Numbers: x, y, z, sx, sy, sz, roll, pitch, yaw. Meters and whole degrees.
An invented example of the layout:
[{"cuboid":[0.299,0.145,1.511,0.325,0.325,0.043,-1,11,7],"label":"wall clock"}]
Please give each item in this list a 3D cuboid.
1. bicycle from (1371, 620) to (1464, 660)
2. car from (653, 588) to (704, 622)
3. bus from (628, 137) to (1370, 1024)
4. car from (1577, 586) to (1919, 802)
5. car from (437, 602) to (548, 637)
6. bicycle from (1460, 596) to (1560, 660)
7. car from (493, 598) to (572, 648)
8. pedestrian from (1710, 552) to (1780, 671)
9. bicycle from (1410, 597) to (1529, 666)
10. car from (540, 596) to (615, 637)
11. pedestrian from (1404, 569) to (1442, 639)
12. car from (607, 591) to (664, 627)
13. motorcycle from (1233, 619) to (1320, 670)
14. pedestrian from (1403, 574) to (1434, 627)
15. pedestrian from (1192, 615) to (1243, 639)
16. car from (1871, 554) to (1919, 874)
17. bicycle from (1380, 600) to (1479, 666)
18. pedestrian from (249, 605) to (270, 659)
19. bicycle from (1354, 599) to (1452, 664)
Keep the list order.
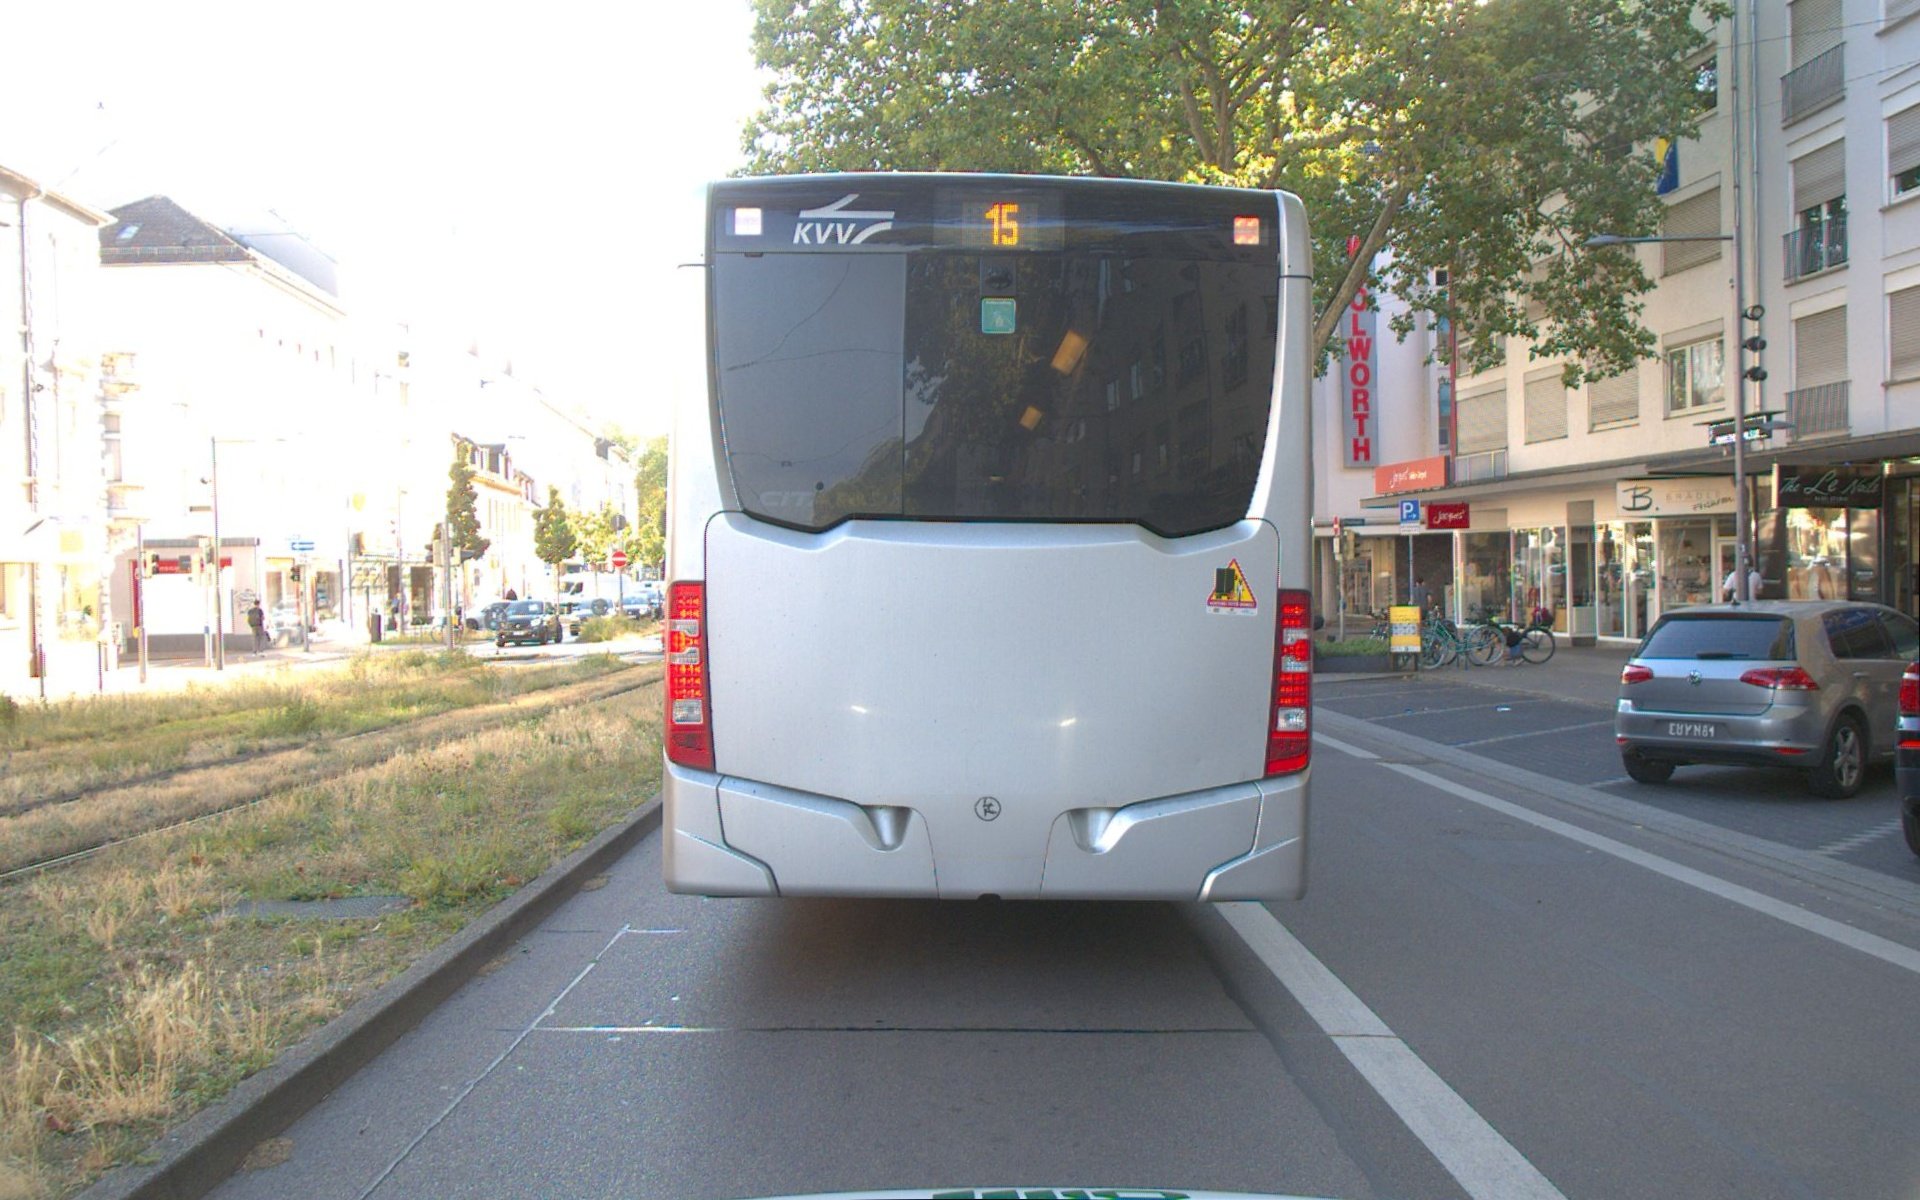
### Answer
[{"cuboid":[9.826,0.862,35.595,1.836,0.778,0.712,-1,1,8],"label":"bicycle"},{"cuboid":[-14.764,0.232,86.965,1.744,1.643,4.509,-3,1,1],"label":"car"},{"cuboid":[0.168,-0.106,9.421,2.623,3.137,7.114,0,1,0],"label":"bus"},{"cuboid":[7.070,0.662,13.739,4.136,1.477,1.784,-2,0,-39],"label":"car"},{"cuboid":[-21.314,0.866,75.460,4.504,1.437,1.974,-2,0,-37],"label":"car"},{"cuboid":[10.877,0.547,32.734,1.727,1.174,0.679,-3,0,8],"label":"bicycle"},{"cuboid":[-14.688,0.759,57.013,1.687,1.535,3.476,-4,0,0],"label":"car"},{"cuboid":[12.832,0.186,27.060,0.632,1.909,0.821,-1,0,-14],"label":"pedestrian"},{"cuboid":[9.906,0.610,32.212,2.037,1.254,0.832,-2,0,4],"label":"bicycle"},{"cuboid":[-15.746,0.635,68.278,1.953,1.586,4.774,-1,0,0],"label":"car"},{"cuboid":[12.211,0.101,43.640,0.764,1.825,0.764,-1,0,-1],"label":"pedestrian"},{"cuboid":[-15.465,0.431,79.001,1.744,1.475,4.045,-3,2,1],"label":"car"},{"cuboid":[6.048,0.847,31.620,1.539,0.908,0.544,-2,0,-4],"label":"motorcycle"},{"cuboid":[15.369,0.011,55.499,0.733,1.708,0.834,-1,2,-7],"label":"pedestrian"},{"cuboid":[6.603,0.696,42.442,1.229,0.599,0.482,-1,0,-3],"label":"pedestrian"},{"cuboid":[7.092,0.554,9.699,4.115,1.710,1.782,-2,0,-42],"label":"car"},{"cuboid":[9.587,0.668,33.797,1.753,1.210,0.671,-4,0,-9],"label":"bicycle"},{"cuboid":[-22.908,1.033,54.098,0.417,1.743,0.508,-1,0,3],"label":"pedestrian"},{"cuboid":[9.312,0.660,34.804,1.836,1.210,0.712,-4,0,8],"label":"bicycle"}]
